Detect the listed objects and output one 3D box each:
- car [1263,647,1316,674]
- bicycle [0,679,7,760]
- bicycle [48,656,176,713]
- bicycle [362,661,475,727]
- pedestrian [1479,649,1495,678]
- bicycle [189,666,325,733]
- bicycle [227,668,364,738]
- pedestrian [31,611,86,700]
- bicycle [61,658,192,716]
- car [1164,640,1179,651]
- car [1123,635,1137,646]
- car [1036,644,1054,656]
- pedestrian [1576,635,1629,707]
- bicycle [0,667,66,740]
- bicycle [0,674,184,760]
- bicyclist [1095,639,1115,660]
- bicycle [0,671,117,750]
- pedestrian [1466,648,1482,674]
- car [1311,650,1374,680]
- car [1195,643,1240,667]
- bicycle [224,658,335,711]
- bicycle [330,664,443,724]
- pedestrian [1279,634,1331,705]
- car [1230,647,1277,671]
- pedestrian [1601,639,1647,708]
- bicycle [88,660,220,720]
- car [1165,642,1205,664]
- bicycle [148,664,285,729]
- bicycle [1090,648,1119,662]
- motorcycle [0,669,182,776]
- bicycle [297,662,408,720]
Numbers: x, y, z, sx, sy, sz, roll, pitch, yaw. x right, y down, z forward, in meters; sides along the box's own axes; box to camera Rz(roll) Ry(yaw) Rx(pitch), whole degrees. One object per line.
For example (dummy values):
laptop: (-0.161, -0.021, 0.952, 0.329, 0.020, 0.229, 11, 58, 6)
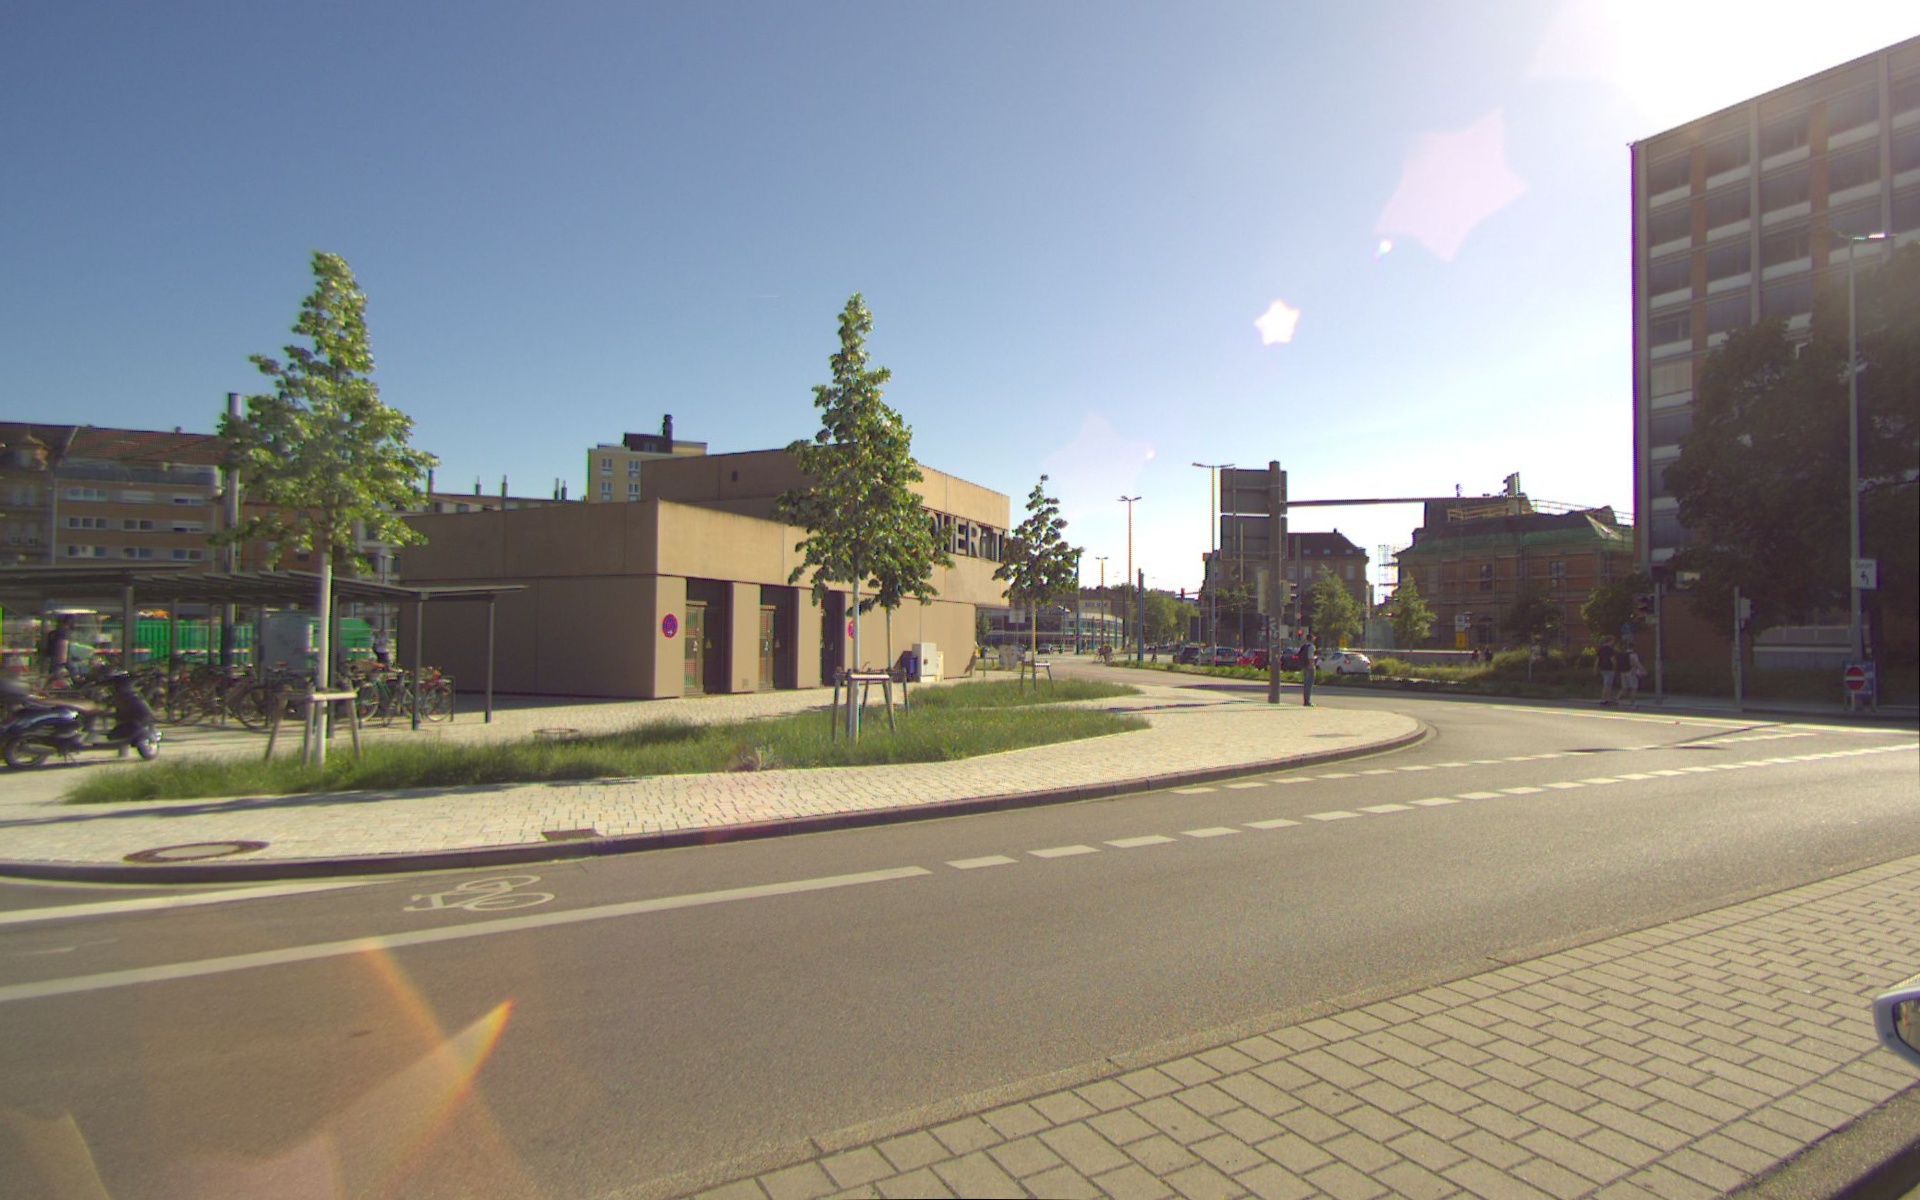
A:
car: (20.550, 3.767, 62.793, 1.760, 1.528, 3.880, 1, -2, -6)
bicycle: (-12.748, 1.486, 12.009, 0.449, 1.022, 1.902, 0, -2, 26)
bicycle: (-16.702, 1.640, 19.843, 0.449, 1.022, 1.902, 0, -2, 26)
bicycle: (-9.930, 1.698, 18.495, 0.449, 1.112, 1.902, 0, -2, 26)
pedestrian: (33.131, 3.977, 63.140, 0.754, 1.753, 0.675, 2, -2, -39)
bicycle: (-11.891, 1.653, 17.064, 0.449, 1.022, 1.902, 0, -2, 26)
bicycle: (-10.913, 1.664, 16.575, 0.449, 1.022, 1.902, 0, -2, 26)
pedestrian: (-19.256, 1.173, 21.453, 0.555, 1.858, 0.683, 0, -2, 27)
bicycle: (-15.920, 1.645, 19.245, 0.449, 1.022, 1.902, 0, -2, 26)
car: (40.872, 8.713, 193.767, 1.760, 2.040, 3.993, 0, -2, 29)
car: (34.260, 8.155, 202.259, 1.961, 2.040, 3.998, 2, 0, 23)
car: (11.721, 6.882, 138.351, 1.709, 1.672, 4.002, 0, -2, 17)
pedestrian: (17.393, 1.906, 27.212, 0.895, 1.887, 0.813, 1, -2, -16)
bicycle: (-14.161, 1.510, 14.451, 0.449, 1.022, 1.902, 0, -2, 26)
bicycle: (-11.817, 1.557, 13.729, 0.449, 1.022, 1.902, 0, -2, 26)
bicyclist: (12.246, 4.168, 84.829, 1.544, 1.655, 0.811, 2, 0, 7)
bicycle: (-13.031, 1.538, 14.020, 0.449, 1.022, 1.902, 0, -2, 26)
pedestrian: (34.721, 4.118, 67.870, 0.752, 1.753, 0.677, 2, -2, -32)
car: (21.249, 3.594, 55.940, 1.760, 1.528, 3.880, 1, -2, -6)
car: (17.458, 3.694, 68.277, 1.760, 1.528, 3.880, 1, -2, -6)
bicycle: (-14.075, 1.730, 20.834, 0.449, 1.022, 1.902, 0, -2, 26)
bicycle: (-10.710, 1.735, 18.824, 0.449, 1.022, 1.902, 0, -2, 26)
pedestrian: (8.654, 1.736, 25.217, 1.044, 1.753, 0.652, 1, -2, -16)
car: (20.206, 4.032, 69.256, 1.760, 1.528, 3.880, 1, -2, -6)
pedestrian: (17.402, 1.914, 26.330, 0.748, 1.753, 0.680, 1, -2, -16)
bicycle: (-15.084, 1.657, 18.870, 0.449, 1.022, 1.902, 0, -2, 26)
car: (16.777, 3.929, 75.003, 1.760, 1.528, 3.880, 1, -2, -6)
bicycle: (-12.901, 1.650, 17.495, 0.449, 1.022, 1.902, 0, -2, 26)
bicycle: (12.207, 4.673, 84.823, 2.370, 1.076, 0.811, 2, 0, 8)
motorcycle: (-10.922, 1.477, 12.475, 0.508, 1.166, 1.947, 0, -2, 25)
bicycle: (-11.799, 1.745, 19.582, 0.449, 1.022, 1.902, 0, -2, 26)
